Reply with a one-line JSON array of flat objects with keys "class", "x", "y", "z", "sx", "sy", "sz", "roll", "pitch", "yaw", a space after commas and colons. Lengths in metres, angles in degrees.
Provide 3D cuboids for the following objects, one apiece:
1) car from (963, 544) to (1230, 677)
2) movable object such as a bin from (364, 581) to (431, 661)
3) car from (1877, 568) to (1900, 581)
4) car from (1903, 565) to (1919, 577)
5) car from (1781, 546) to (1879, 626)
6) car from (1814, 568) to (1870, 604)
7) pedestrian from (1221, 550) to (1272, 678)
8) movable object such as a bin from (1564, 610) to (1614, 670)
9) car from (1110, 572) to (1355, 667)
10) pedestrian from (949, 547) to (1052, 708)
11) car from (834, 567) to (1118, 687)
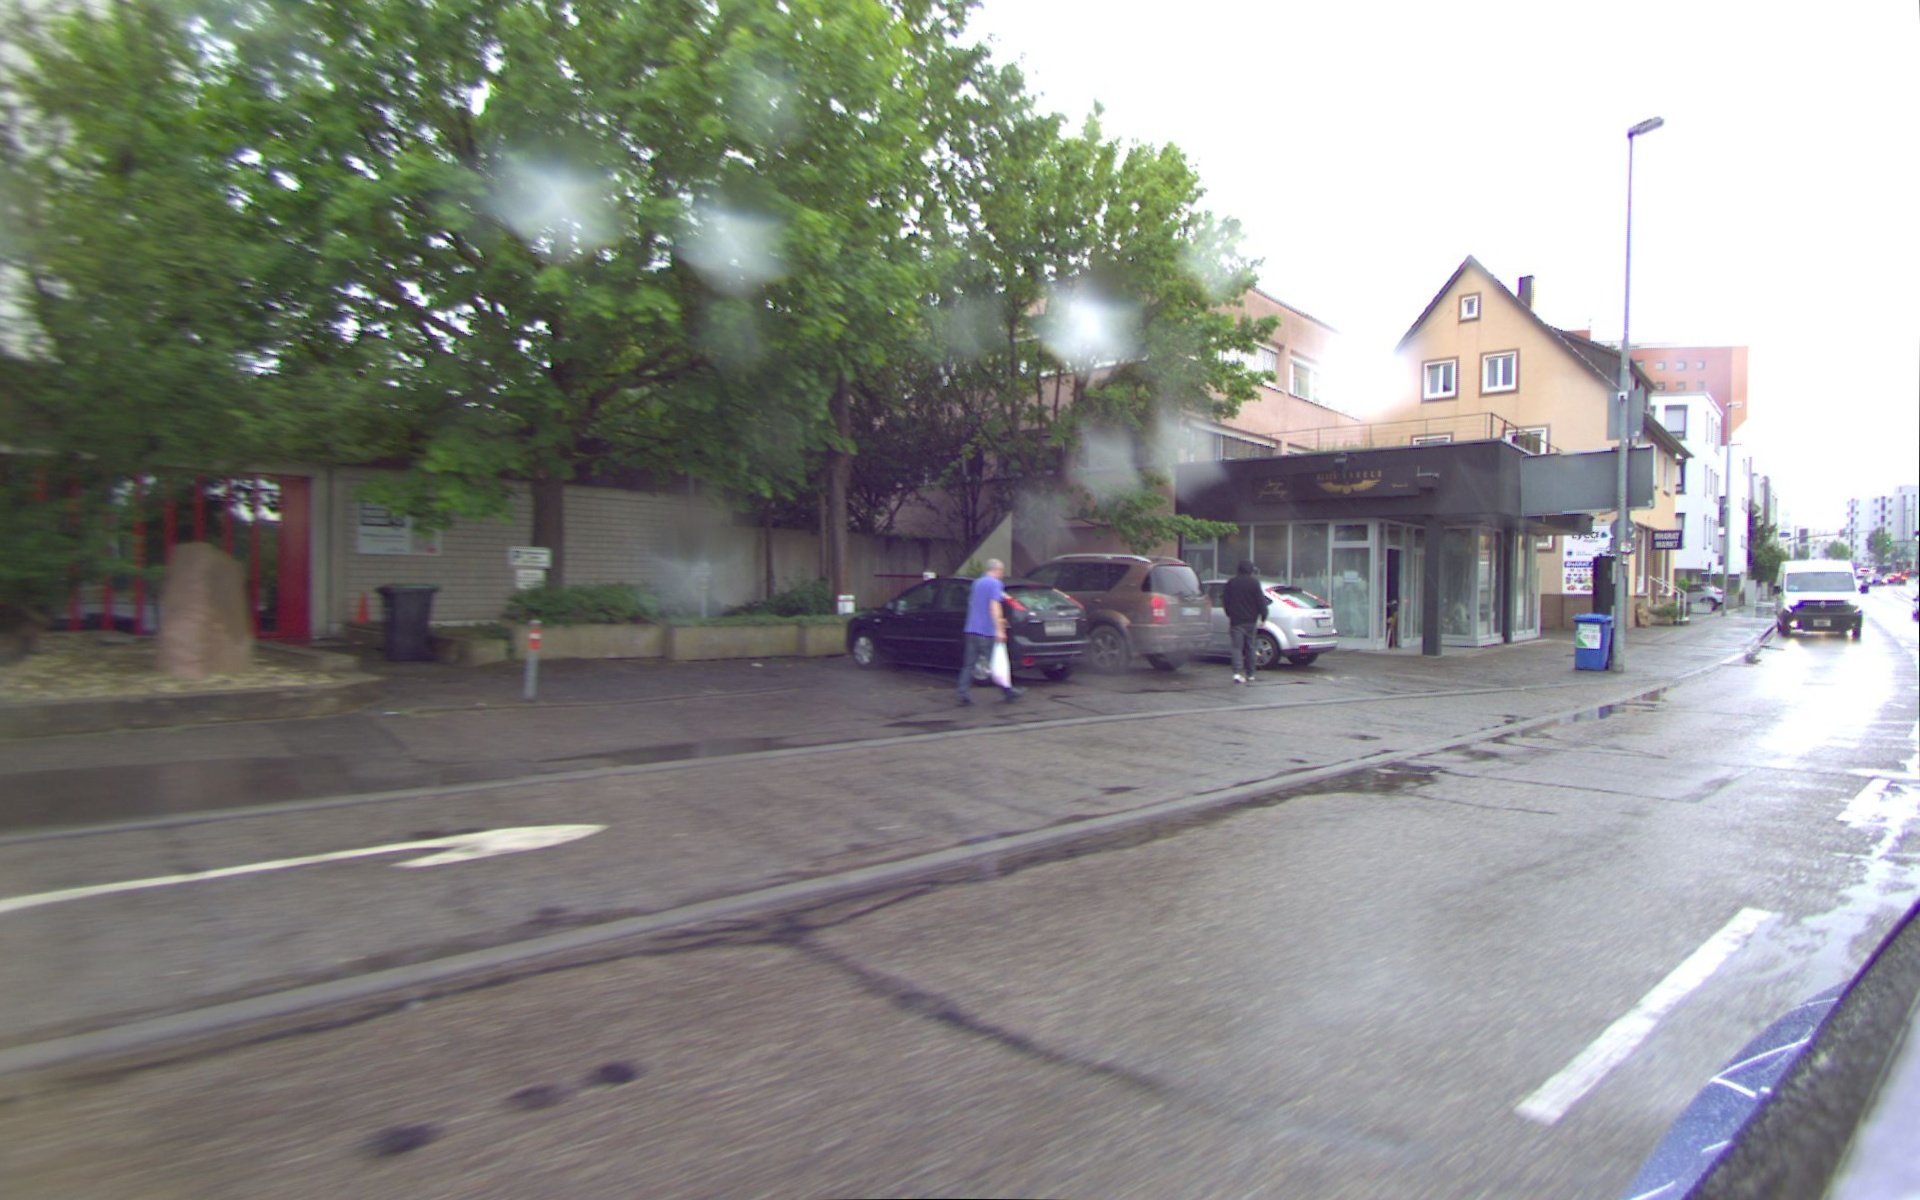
[{"class": "car", "x": 2.119, "y": 0.068, "z": 16.603, "sx": 1.845, "sy": 1.894, "sz": 4.100, "roll": 0, "pitch": 2, "yaw": -42}, {"class": "movable object such as a bin", "x": -7.809, "y": 0.278, "z": 14.058, "sx": 0.643, "sy": 1.069, "sz": 0.631, "roll": 2, "pitch": 1, "yaw": 41}, {"class": "car", "x": 114.006, "y": -3.190, "z": 124.251, "sx": 1.712, "sy": 1.467, "sz": 4.142, "roll": 2, "pitch": 4, "yaw": 38}, {"class": "car", "x": 119.858, "y": -3.663, "z": 127.202, "sx": 1.766, "sy": 1.430, "sz": 4.461, "roll": 2, "pitch": 4, "yaw": 40}, {"class": "car", "x": 29.517, "y": -0.599, "z": 34.390, "sx": 2.289, "sy": 2.410, "sz": 6.530, "roll": 2, "pitch": 4, "yaw": 41}, {"class": "car", "x": 45.874, "y": -0.767, "z": 52.684, "sx": 2.008, "sy": 1.641, "sz": 4.302, "roll": 0, "pitch": 4, "yaw": 39}, {"class": "pedestrian", "x": 4.264, "y": 0.181, "z": 15.092, "sx": 0.700, "sy": 1.843, "sz": 0.793, "roll": 0, "pitch": 3, "yaw": 16}, {"class": "movable object such as a bin", "x": 12.071, "y": 0.756, "z": 19.415, "sx": 0.687, "sy": 1.088, "sz": 0.636, "roll": 2, "pitch": 0, "yaw": -45}, {"class": "car", "x": 4.851, "y": 0.269, "z": 18.413, "sx": 1.717, "sy": 1.465, "sz": 3.993, "roll": 0, "pitch": 2, "yaw": -42}, {"class": "pedestrian", "x": 0.465, "y": 0.285, "z": 11.705, "sx": 0.875, "sy": 1.758, "sz": 0.748, "roll": 3, "pitch": 2, "yaw": 44}, {"class": "car", "x": 0.115, "y": 0.277, "z": 14.991, "sx": 4.150, "sy": 1.471, "sz": 1.774, "roll": 3, "pitch": 3, "yaw": 45}]
